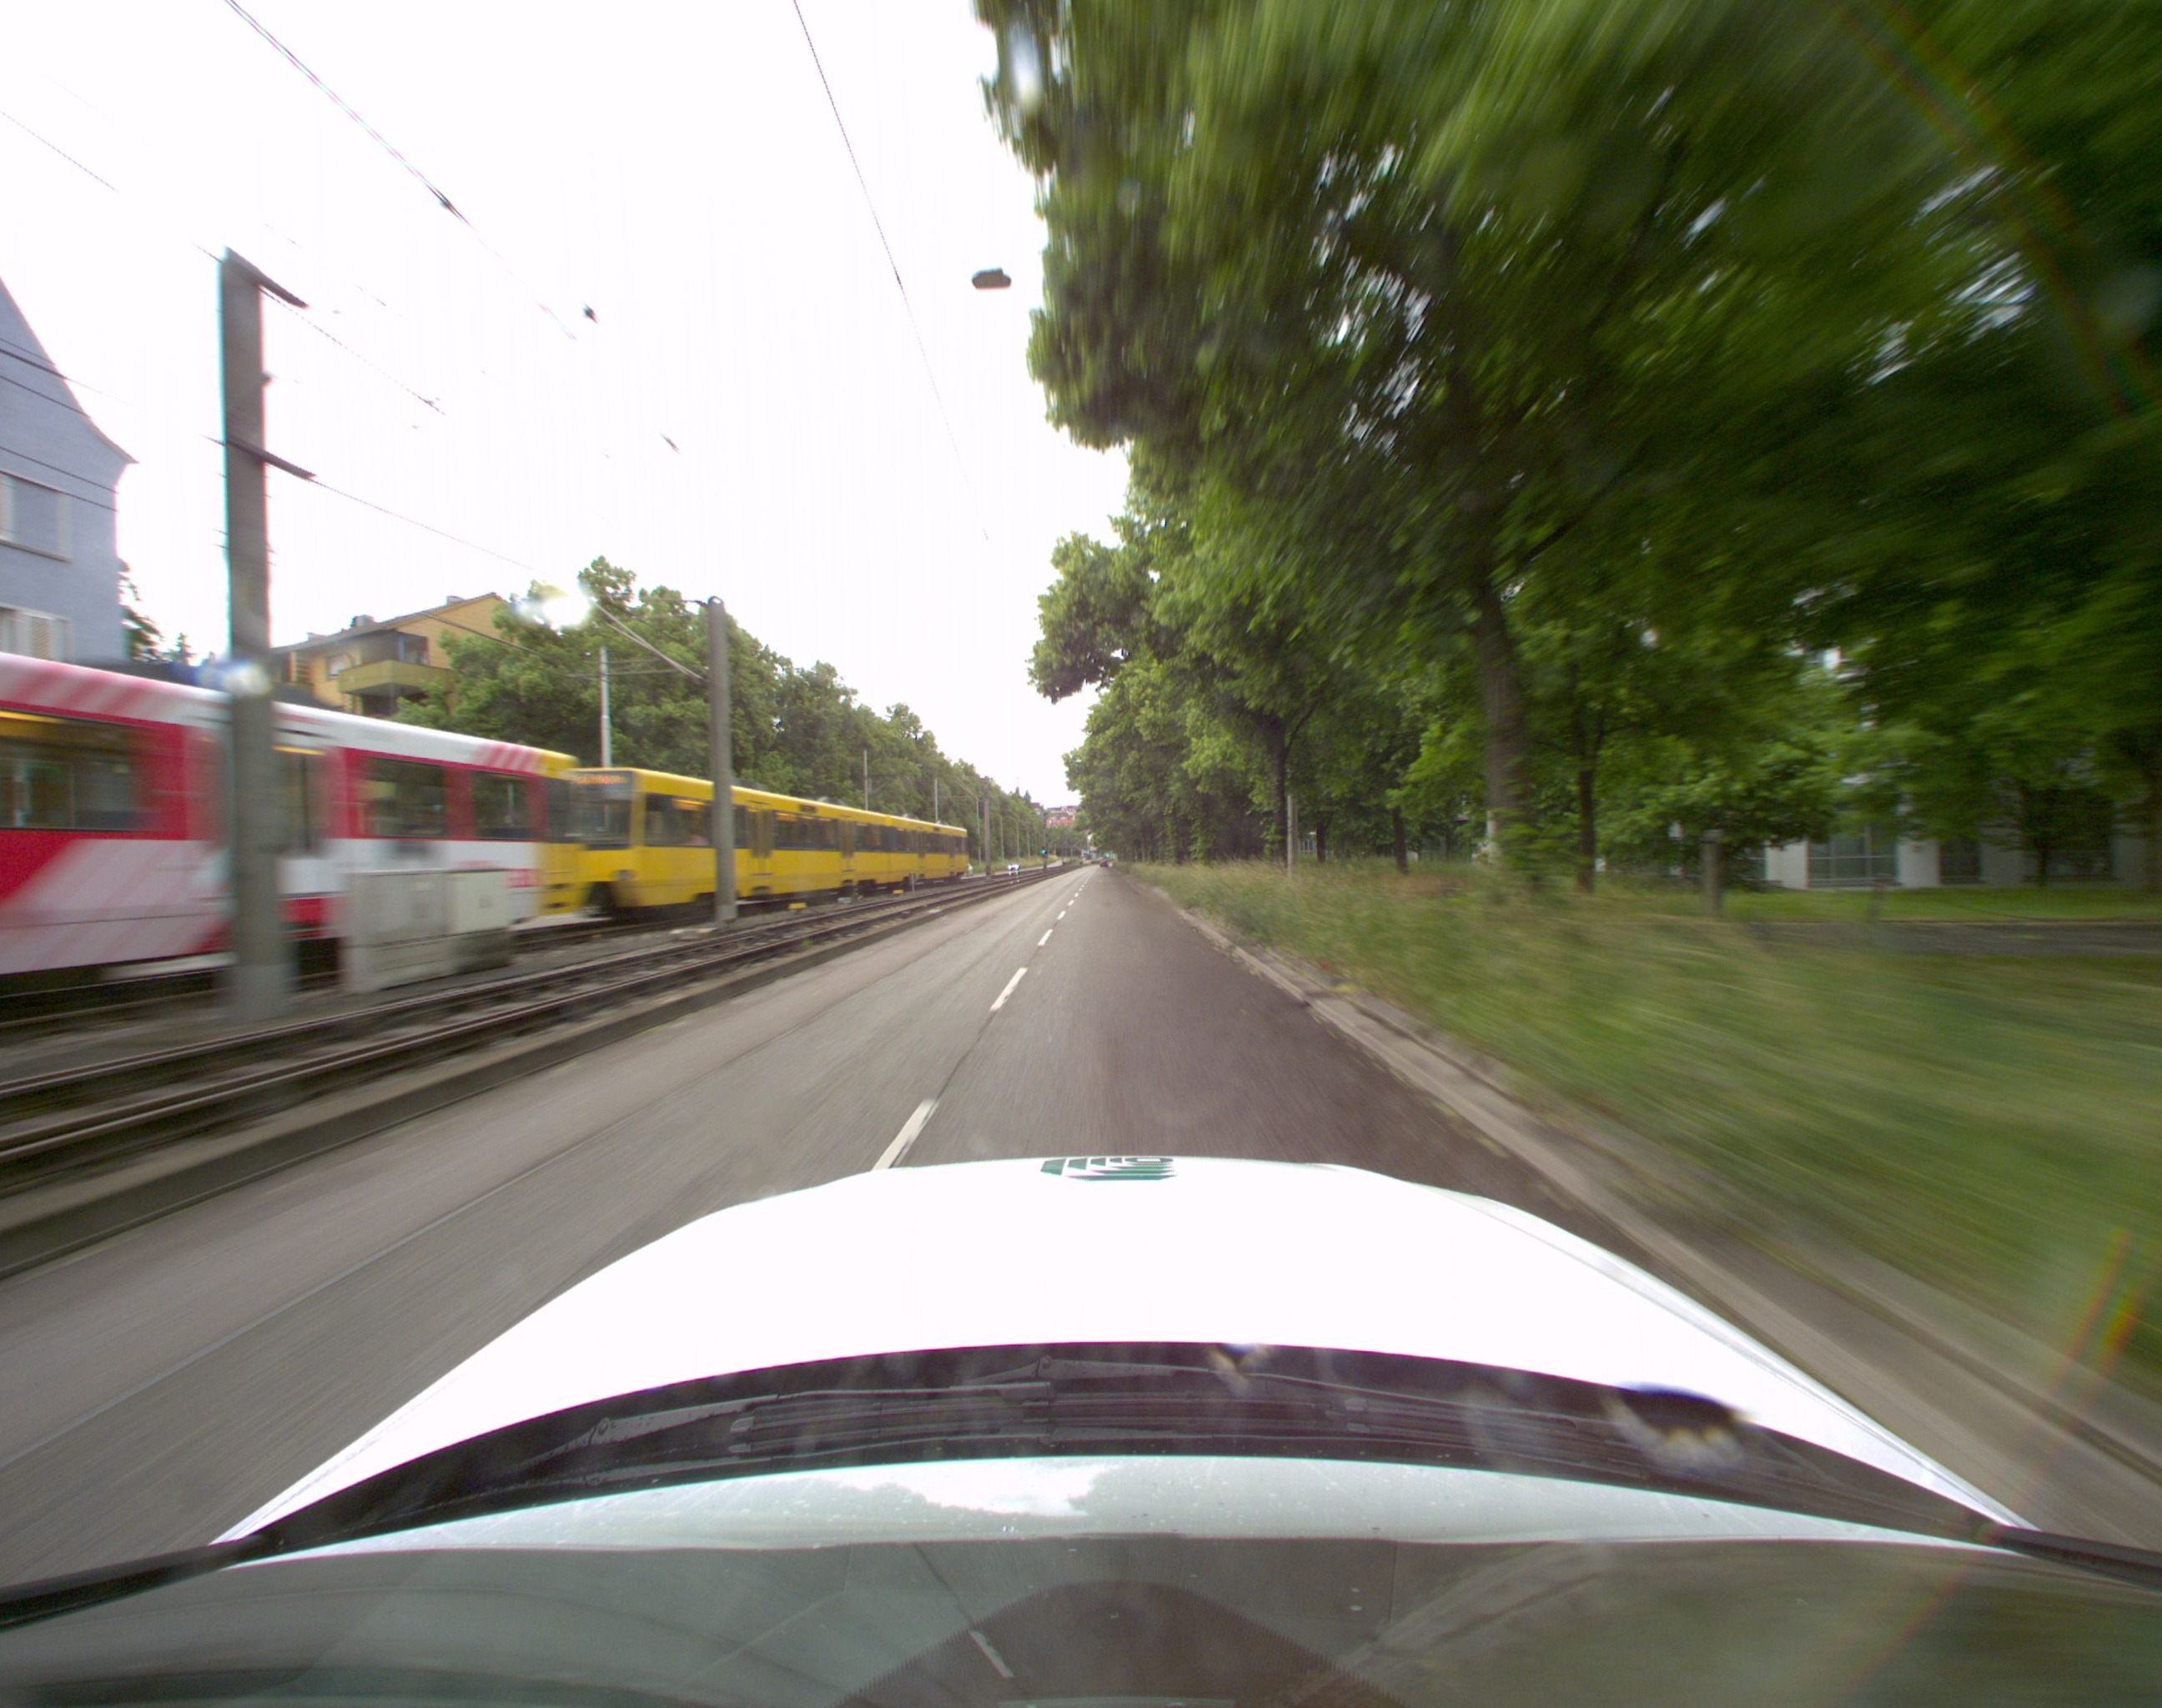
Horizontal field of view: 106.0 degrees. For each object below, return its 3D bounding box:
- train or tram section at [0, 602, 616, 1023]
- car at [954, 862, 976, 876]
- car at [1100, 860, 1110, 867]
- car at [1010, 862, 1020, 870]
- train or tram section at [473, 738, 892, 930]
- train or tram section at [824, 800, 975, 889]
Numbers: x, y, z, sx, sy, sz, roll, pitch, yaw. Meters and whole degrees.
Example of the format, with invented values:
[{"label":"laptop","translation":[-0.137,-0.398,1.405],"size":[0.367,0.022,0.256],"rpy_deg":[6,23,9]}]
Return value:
[{"label":"train or tram section","translation":[-11.278,-0.353,6.988],"size":[2.955,3.810,18.629],"rpy_deg":[-1,0,3]},{"label":"car","translation":[-13.225,1.658,93.067],"size":[1.646,1.529,4.382],"rpy_deg":[-1,0,2]},{"label":"car","translation":[5.189,1.990,174.805],"size":[2.186,1.329,4.001],"rpy_deg":[-1,0,1]},{"label":"car","translation":[-12.103,2.138,149.599],"size":[1.470,1.436,3.911],"rpy_deg":[-3,-1,2]},{"label":"train or tram section","translation":[-10.242,-0.423,25.926],"size":[2.955,3.810,19.114],"rpy_deg":[-1,0,3]},{"label":"train or tram section","translation":[-9.167,-0.452,45.258],"size":[2.955,3.810,19.536],"rpy_deg":[-1,0,3]}]
